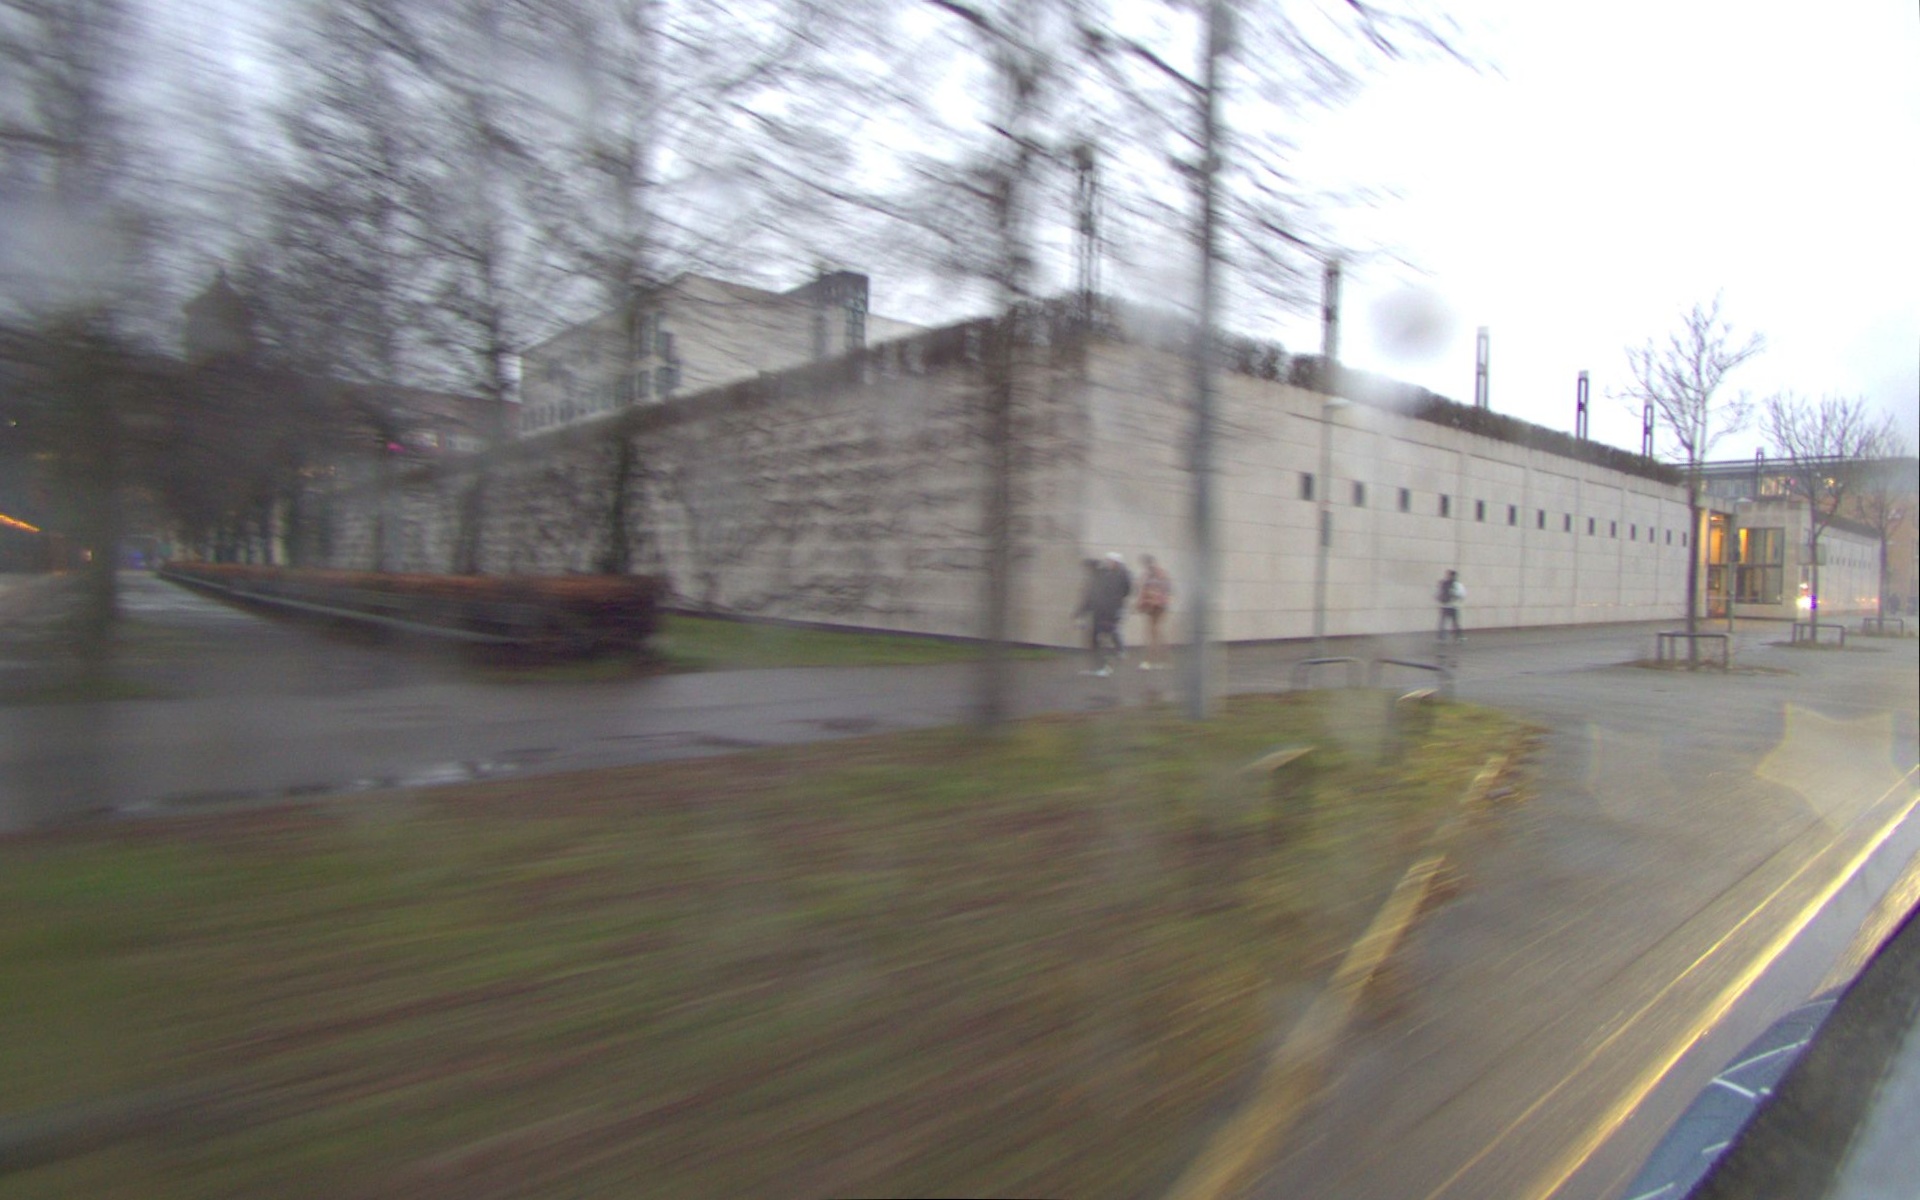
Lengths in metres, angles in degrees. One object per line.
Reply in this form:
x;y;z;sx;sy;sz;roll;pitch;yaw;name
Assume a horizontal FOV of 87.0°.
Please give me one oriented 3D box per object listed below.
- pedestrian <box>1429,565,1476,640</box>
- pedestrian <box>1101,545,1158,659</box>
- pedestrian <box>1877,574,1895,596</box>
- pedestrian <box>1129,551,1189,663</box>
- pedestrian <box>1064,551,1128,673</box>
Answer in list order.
11.322;0.038;23.281;0.667;1.675;0.979;3;3;44;pedestrian
2.735;0.025;16.347;0.602;1.800;0.676;0;0;-27;pedestrian
71.368;-1.192;77.992;0.868;1.650;0.813;0;3;-41;pedestrian
2.993;0.098;15.243;0.602;1.632;0.676;0;0;-27;pedestrian
1.890;0.163;14.074;0.601;1.645;0.676;0;0;-25;pedestrian
